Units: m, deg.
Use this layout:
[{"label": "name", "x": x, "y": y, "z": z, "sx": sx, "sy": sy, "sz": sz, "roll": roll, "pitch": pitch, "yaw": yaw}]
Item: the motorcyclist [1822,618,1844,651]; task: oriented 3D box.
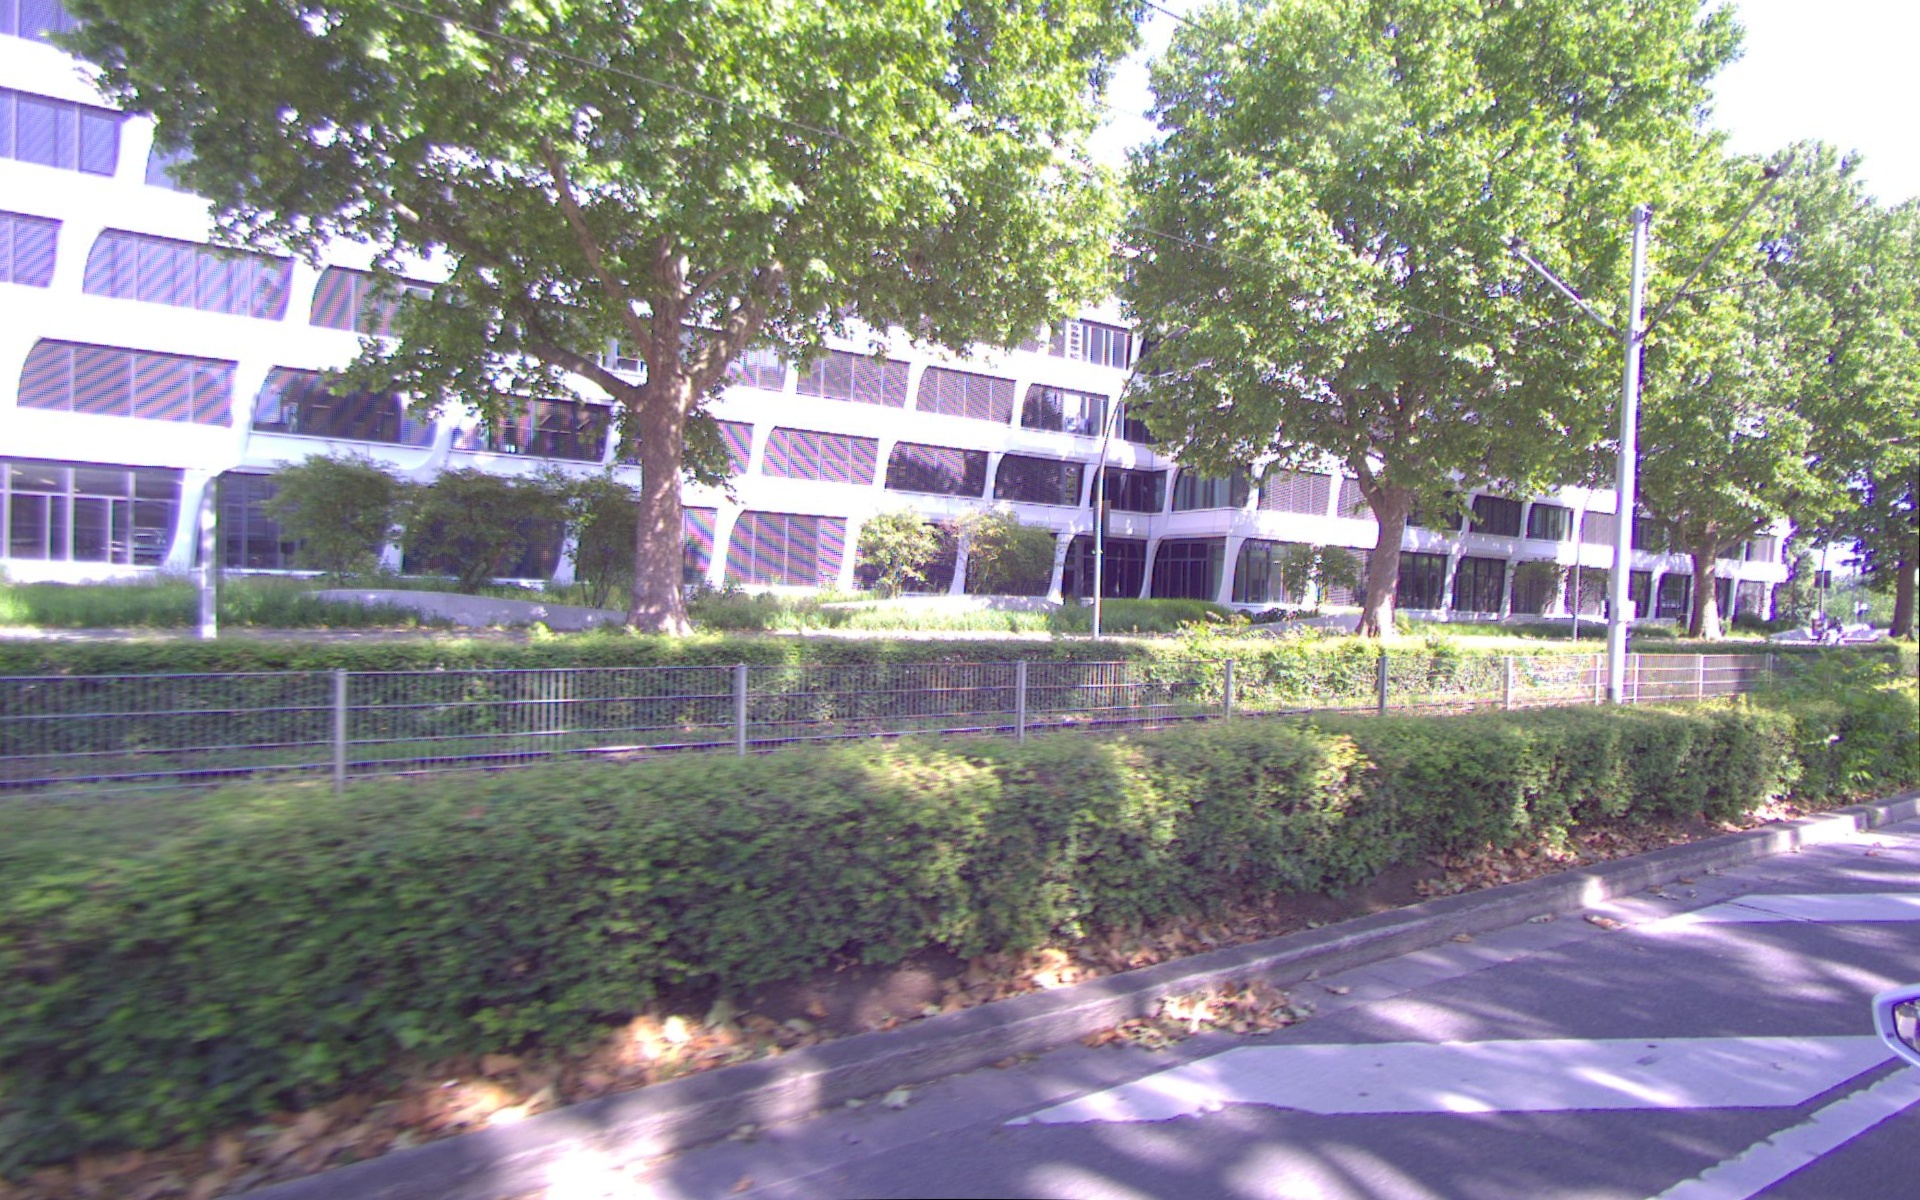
[{"label": "motorcyclist", "x": 39.817, "y": 1.578, "z": 45.826, "sx": 0.527, "sy": 1.477, "sz": 0.578, "roll": 1, "pitch": 1, "yaw": -30}]

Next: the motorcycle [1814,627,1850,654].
[{"label": "motorcycle", "x": 39.820, "y": 1.864, "z": 45.855, "sx": 1.977, "sy": 1.190, "sz": 0.629, "roll": 1, "pitch": 1, "yaw": -31}]
